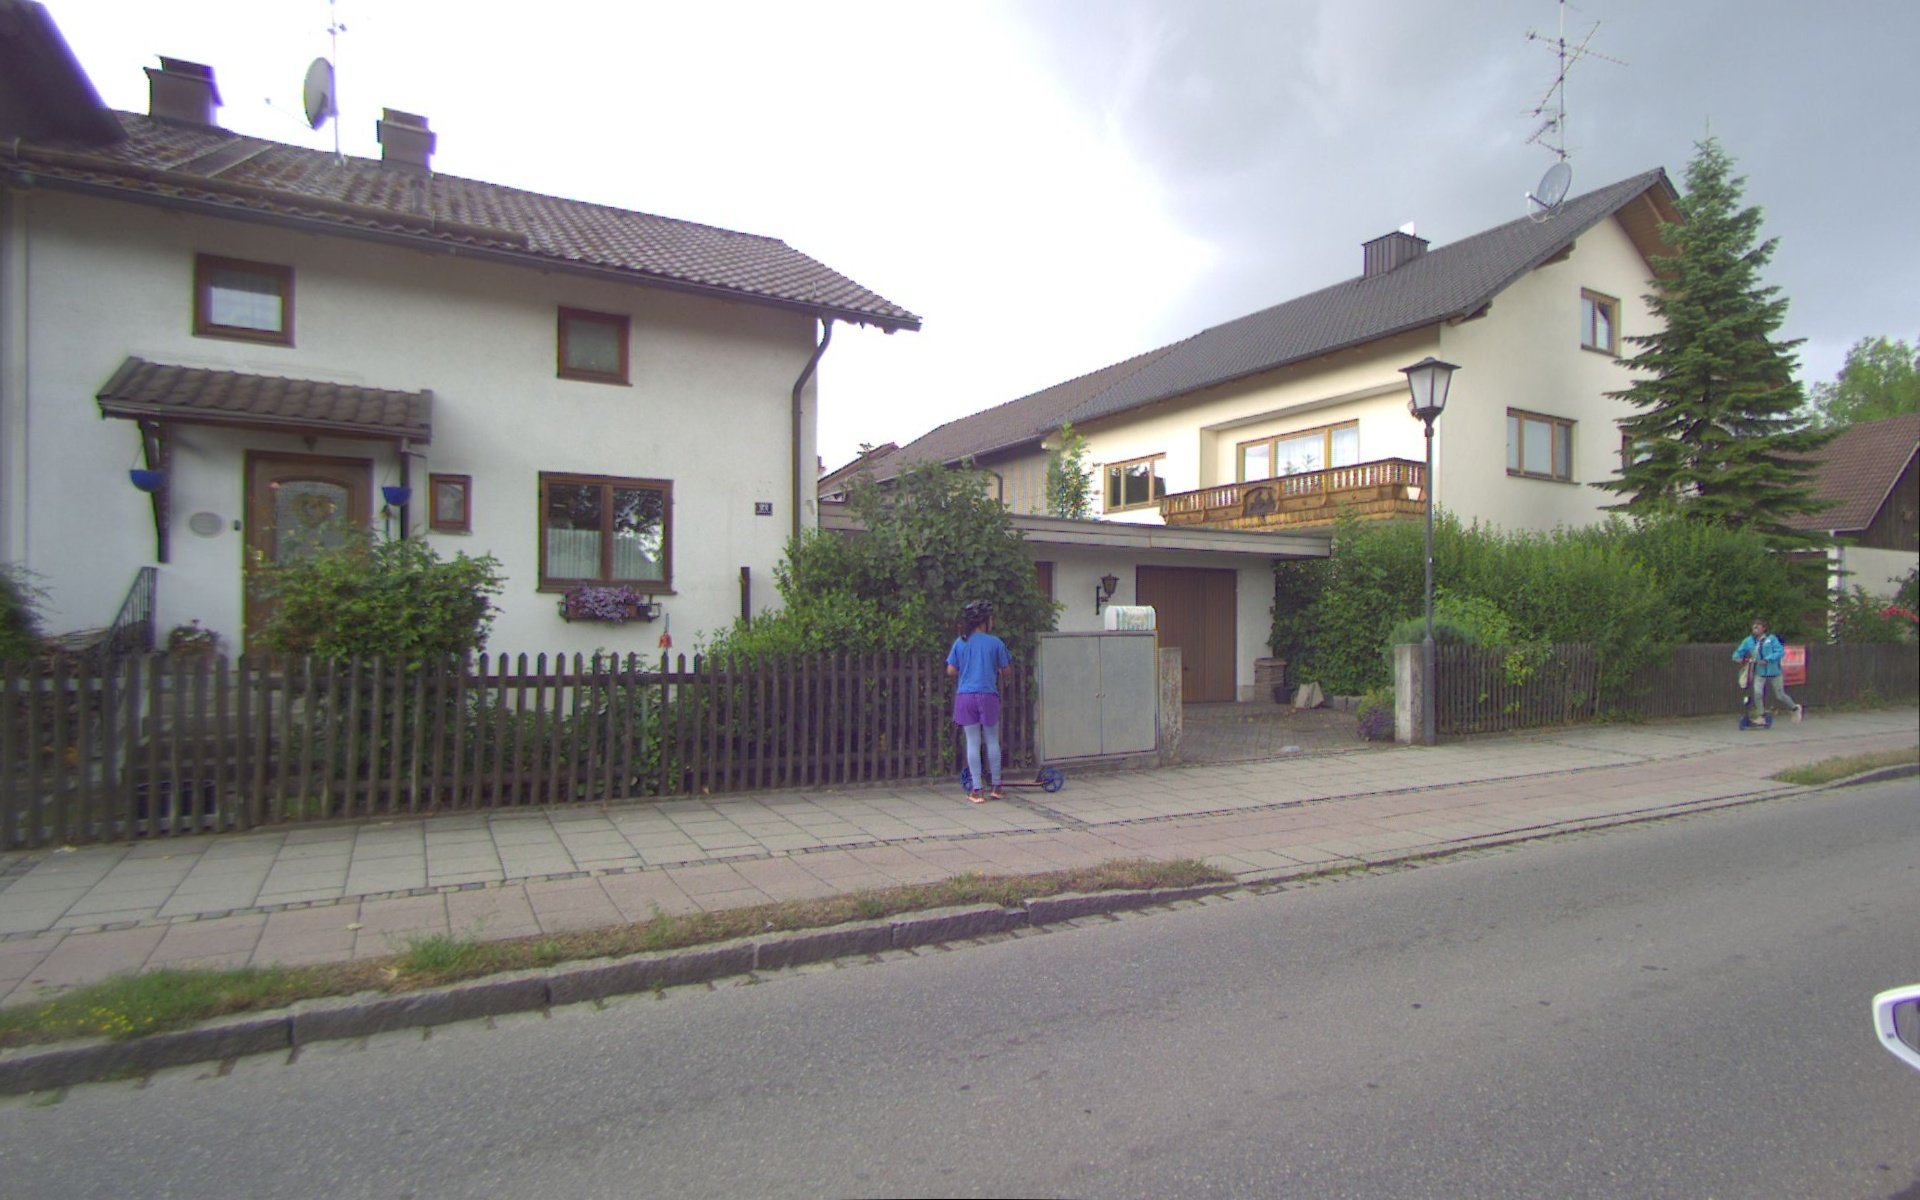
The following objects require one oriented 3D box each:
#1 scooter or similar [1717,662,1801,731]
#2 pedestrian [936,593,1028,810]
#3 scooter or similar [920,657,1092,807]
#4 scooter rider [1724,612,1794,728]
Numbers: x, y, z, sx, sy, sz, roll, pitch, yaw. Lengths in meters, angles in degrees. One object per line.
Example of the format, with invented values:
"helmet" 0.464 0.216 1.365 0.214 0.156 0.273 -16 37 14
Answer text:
"scooter or similar" 10.749 1.279 13.509 1.049 0.861 0.519 1 0 -29
"pedestrian" 0.159 0.729 7.510 0.481 1.549 0.531 1 0 -26
"scooter or similar" 0.355 0.984 7.819 1.164 1.051 0.658 1 -1 -29
"scooter rider" 10.736 0.927 13.495 0.707 1.509 0.500 1 0 -29
